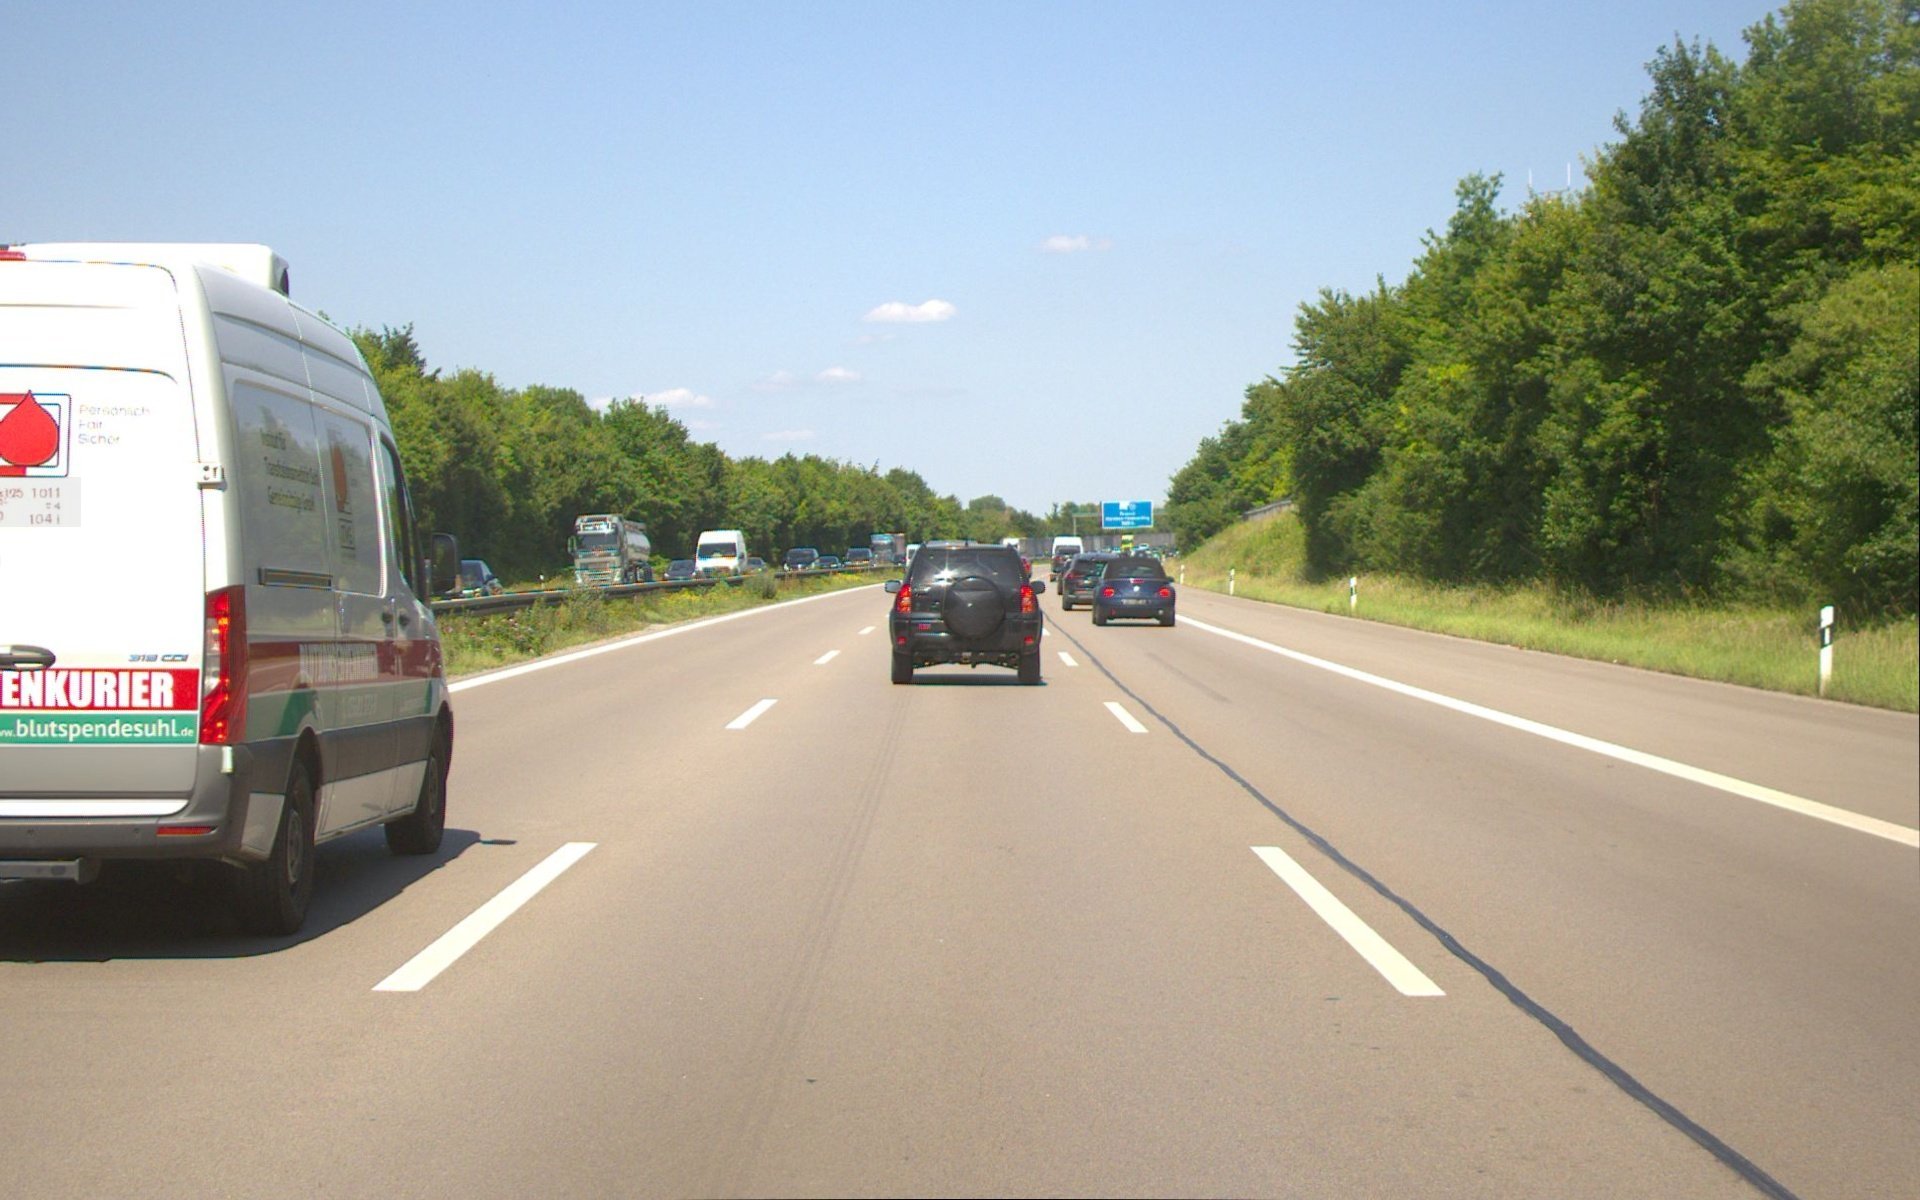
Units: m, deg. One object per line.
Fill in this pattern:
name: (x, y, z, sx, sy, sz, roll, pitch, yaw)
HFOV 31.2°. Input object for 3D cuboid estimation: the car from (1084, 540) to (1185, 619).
car: (3.817, -0.427, 75.705, 1.993, 1.678, 4.000, 0, 0, 0)

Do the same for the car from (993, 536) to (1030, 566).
car: (3.024, -2.874, 202.602, 1.993, 1.744, 4.205, 0, 1, -2)

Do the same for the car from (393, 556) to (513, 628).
car: (-11.849, -0.218, 80.647, 1.993, 1.602, 4.648, -1, 1, 2)

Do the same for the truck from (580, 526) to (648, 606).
truck: (-17.551, -1.714, 174.713, 2.731, 3.869, 6.323, -3, 1, -1)

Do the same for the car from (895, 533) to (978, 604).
car: (-0.572, -0.788, 86.214, 1.993, 1.700, 4.336, -1, 1, 0)

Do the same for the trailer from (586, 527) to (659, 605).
trailer: (-17.646, -1.788, 180.225, 2.766, 3.869, 9.457, -3, 1, 0)

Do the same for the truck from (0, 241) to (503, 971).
truck: (-3.520, -0.043, 15.373, 1.993, 2.533, 6.692, 1, 1, 0)

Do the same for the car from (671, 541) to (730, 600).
car: (-11.363, -1.306, 150.942, 2.070, 2.547, 6.401, -1, 1, 0)

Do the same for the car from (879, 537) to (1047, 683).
car: (0.000, 0.120, 41.250, 1.906, 1.659, 4.000, 0, 0, -1)

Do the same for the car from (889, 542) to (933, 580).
car: (-2.598, -2.094, 183.829, 1.994, 2.007, 4.949, -1, 1, 3)

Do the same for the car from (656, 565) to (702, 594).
car: (-14.145, -1.038, 173.176, 1.906, 1.411, 4.891, -1, 1, 0)

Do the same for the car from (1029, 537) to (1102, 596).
car: (2.911, -0.918, 95.809, 1.842, 1.606, 4.000, 0, 0, -1)
